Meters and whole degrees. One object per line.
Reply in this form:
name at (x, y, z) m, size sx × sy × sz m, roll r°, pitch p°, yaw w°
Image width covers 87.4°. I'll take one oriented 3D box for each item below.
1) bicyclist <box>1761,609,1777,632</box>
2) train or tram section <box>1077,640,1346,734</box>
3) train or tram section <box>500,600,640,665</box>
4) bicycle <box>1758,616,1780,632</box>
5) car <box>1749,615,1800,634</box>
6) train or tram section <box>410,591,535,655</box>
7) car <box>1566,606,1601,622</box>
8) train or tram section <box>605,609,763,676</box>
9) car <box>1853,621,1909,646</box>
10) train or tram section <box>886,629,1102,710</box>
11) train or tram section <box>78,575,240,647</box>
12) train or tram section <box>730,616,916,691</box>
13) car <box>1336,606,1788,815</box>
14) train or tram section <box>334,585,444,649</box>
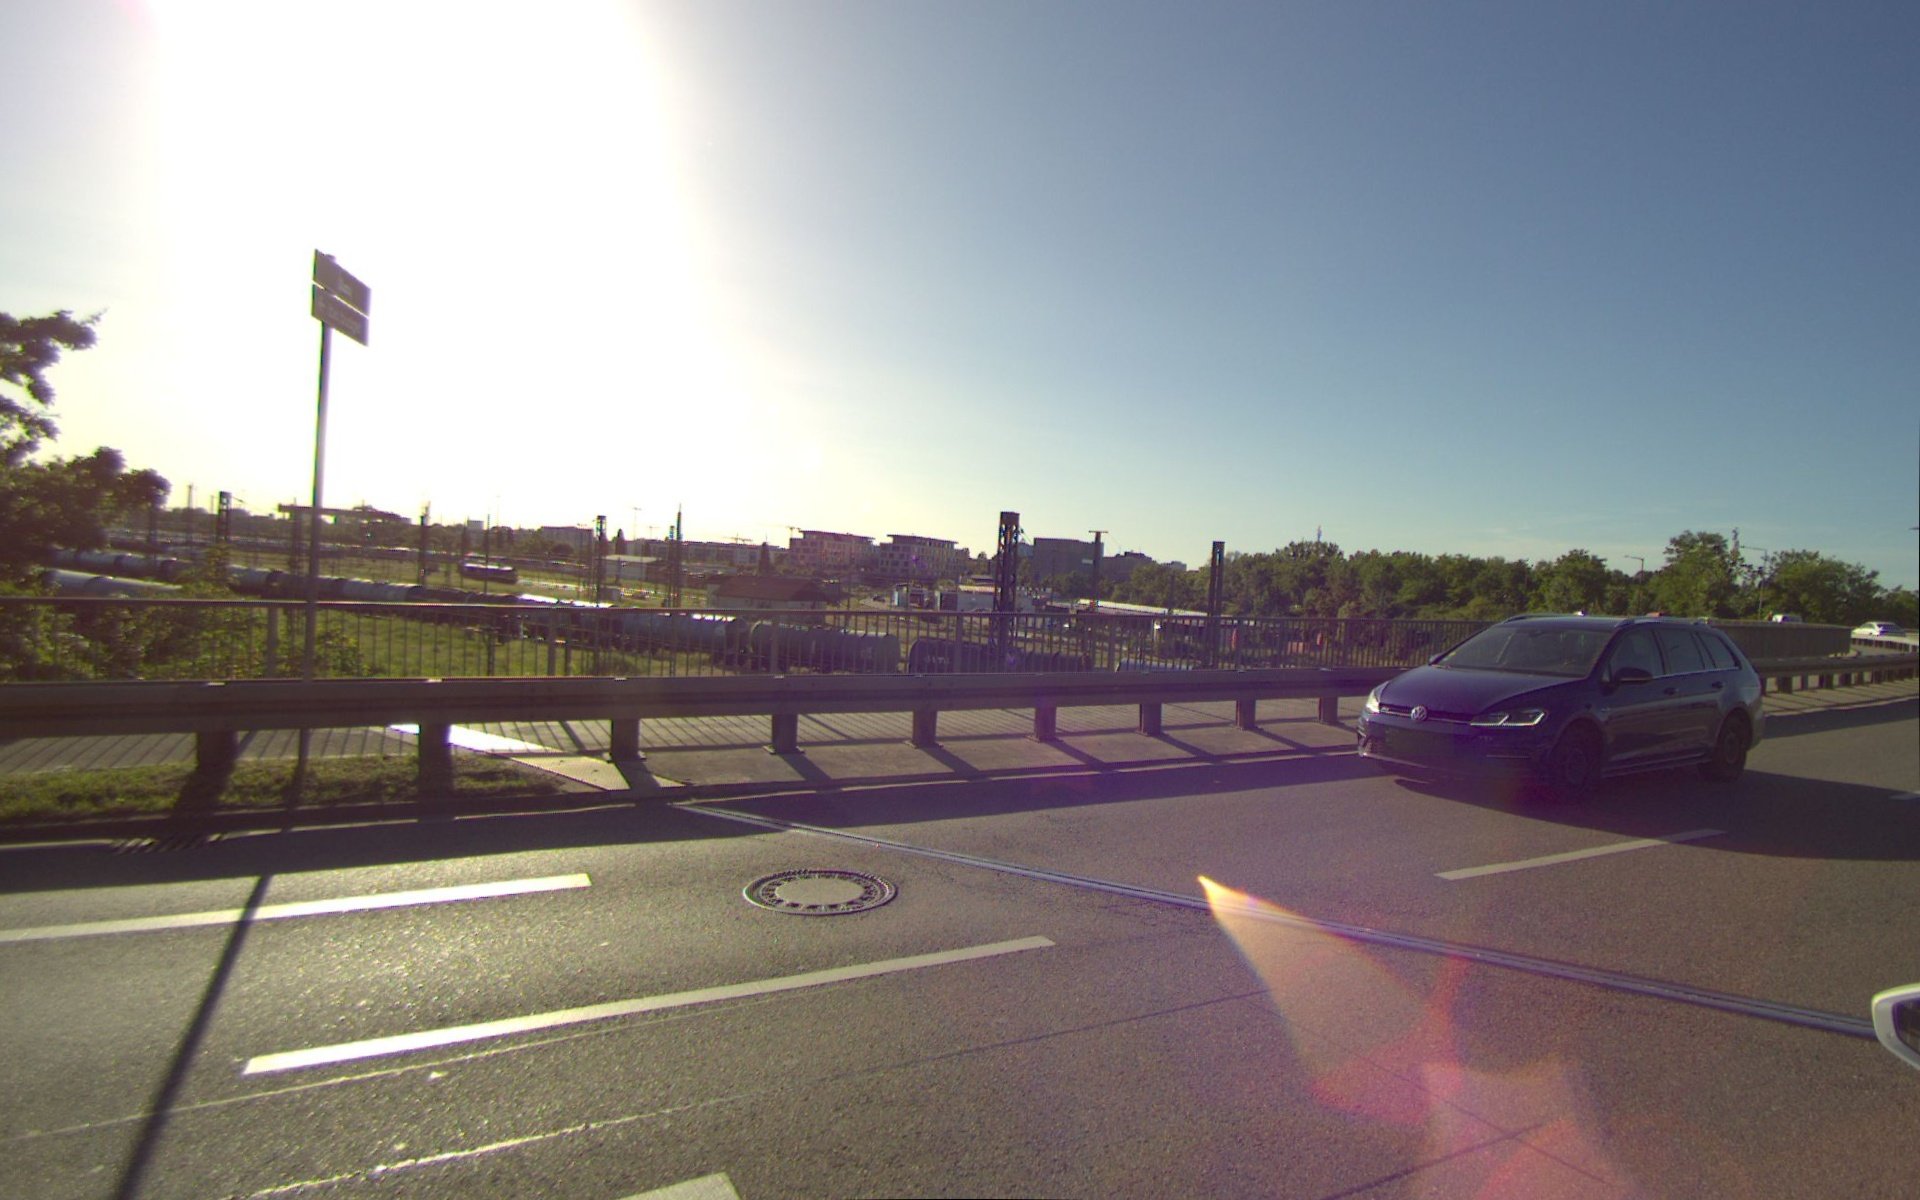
bicyclist at (57.037, 1.425, 70.829) m, size 0.643 × 1.611 × 0.768 m, roll 2°, pitch 1°, yaw 22°
train or tram section at (15.997, 5.382, 65.340) m, size 16.476 × 4.653 × 3.896 m, roll 2°, pitch 1°, yaw 32°
train or tram section at (-38.943, 3.041, 99.817) m, size 16.217 × 5.593 × 3.896 m, roll 2°, pitch 1°, yaw 32°
bicycle at (57.038, 1.678, 70.853) m, size 0.643 × 1.079 × 1.889 m, roll 2°, pitch 1°, yaw 22°
car at (72.992, 2.186, 90.088) m, size 1.804 × 1.576 × 3.895 m, roll 2°, pitch 1°, yaw 8°
train or tram section at (-52.852, 2.298, 108.523) m, size 16.665 × 6.090 × 3.896 m, roll 2°, pitch 1°, yaw 32°
car at (80.064, 1.783, 129.099) m, size 1.924 × 1.976 × 4.000 m, roll 2°, pitch 1°, yaw 0°
train or tram section at (-25.265, 3.673, 91.184) m, size 16.081 × 5.084 × 3.896 m, roll 2°, pitch 1°, yaw 32°
car at (67.244, 2.411, 73.402) m, size 1.830 × 1.606 × 3.911 m, roll 2°, pitch 1°, yaw 25°
train or tram section at (2.231, 4.887, 73.949) m, size 16.028 × 4.653 × 3.896 m, roll 2°, pitch 1°, yaw 32°
train or tram section at (-66.353, 0.713, 82.879) m, size 19.011 × 5.154 × 4.040 m, roll 2°, pitch 1°, yaw 31°
train or tram section at (-11.501, 4.168, 82.543) m, size 16.377 × 5.084 × 3.896 m, roll 2°, pitch 1°, yaw 32°
car at (5.631, 0.867, 9.251) m, size 4.356 × 1.506 × 1.715 m, roll 1°, pitch 0°, yaw -31°
train or tram section at (-66.820, 1.830, 117.241) m, size 16.217 × 6.700 × 3.896 m, roll 2°, pitch 1°, yaw 32°
